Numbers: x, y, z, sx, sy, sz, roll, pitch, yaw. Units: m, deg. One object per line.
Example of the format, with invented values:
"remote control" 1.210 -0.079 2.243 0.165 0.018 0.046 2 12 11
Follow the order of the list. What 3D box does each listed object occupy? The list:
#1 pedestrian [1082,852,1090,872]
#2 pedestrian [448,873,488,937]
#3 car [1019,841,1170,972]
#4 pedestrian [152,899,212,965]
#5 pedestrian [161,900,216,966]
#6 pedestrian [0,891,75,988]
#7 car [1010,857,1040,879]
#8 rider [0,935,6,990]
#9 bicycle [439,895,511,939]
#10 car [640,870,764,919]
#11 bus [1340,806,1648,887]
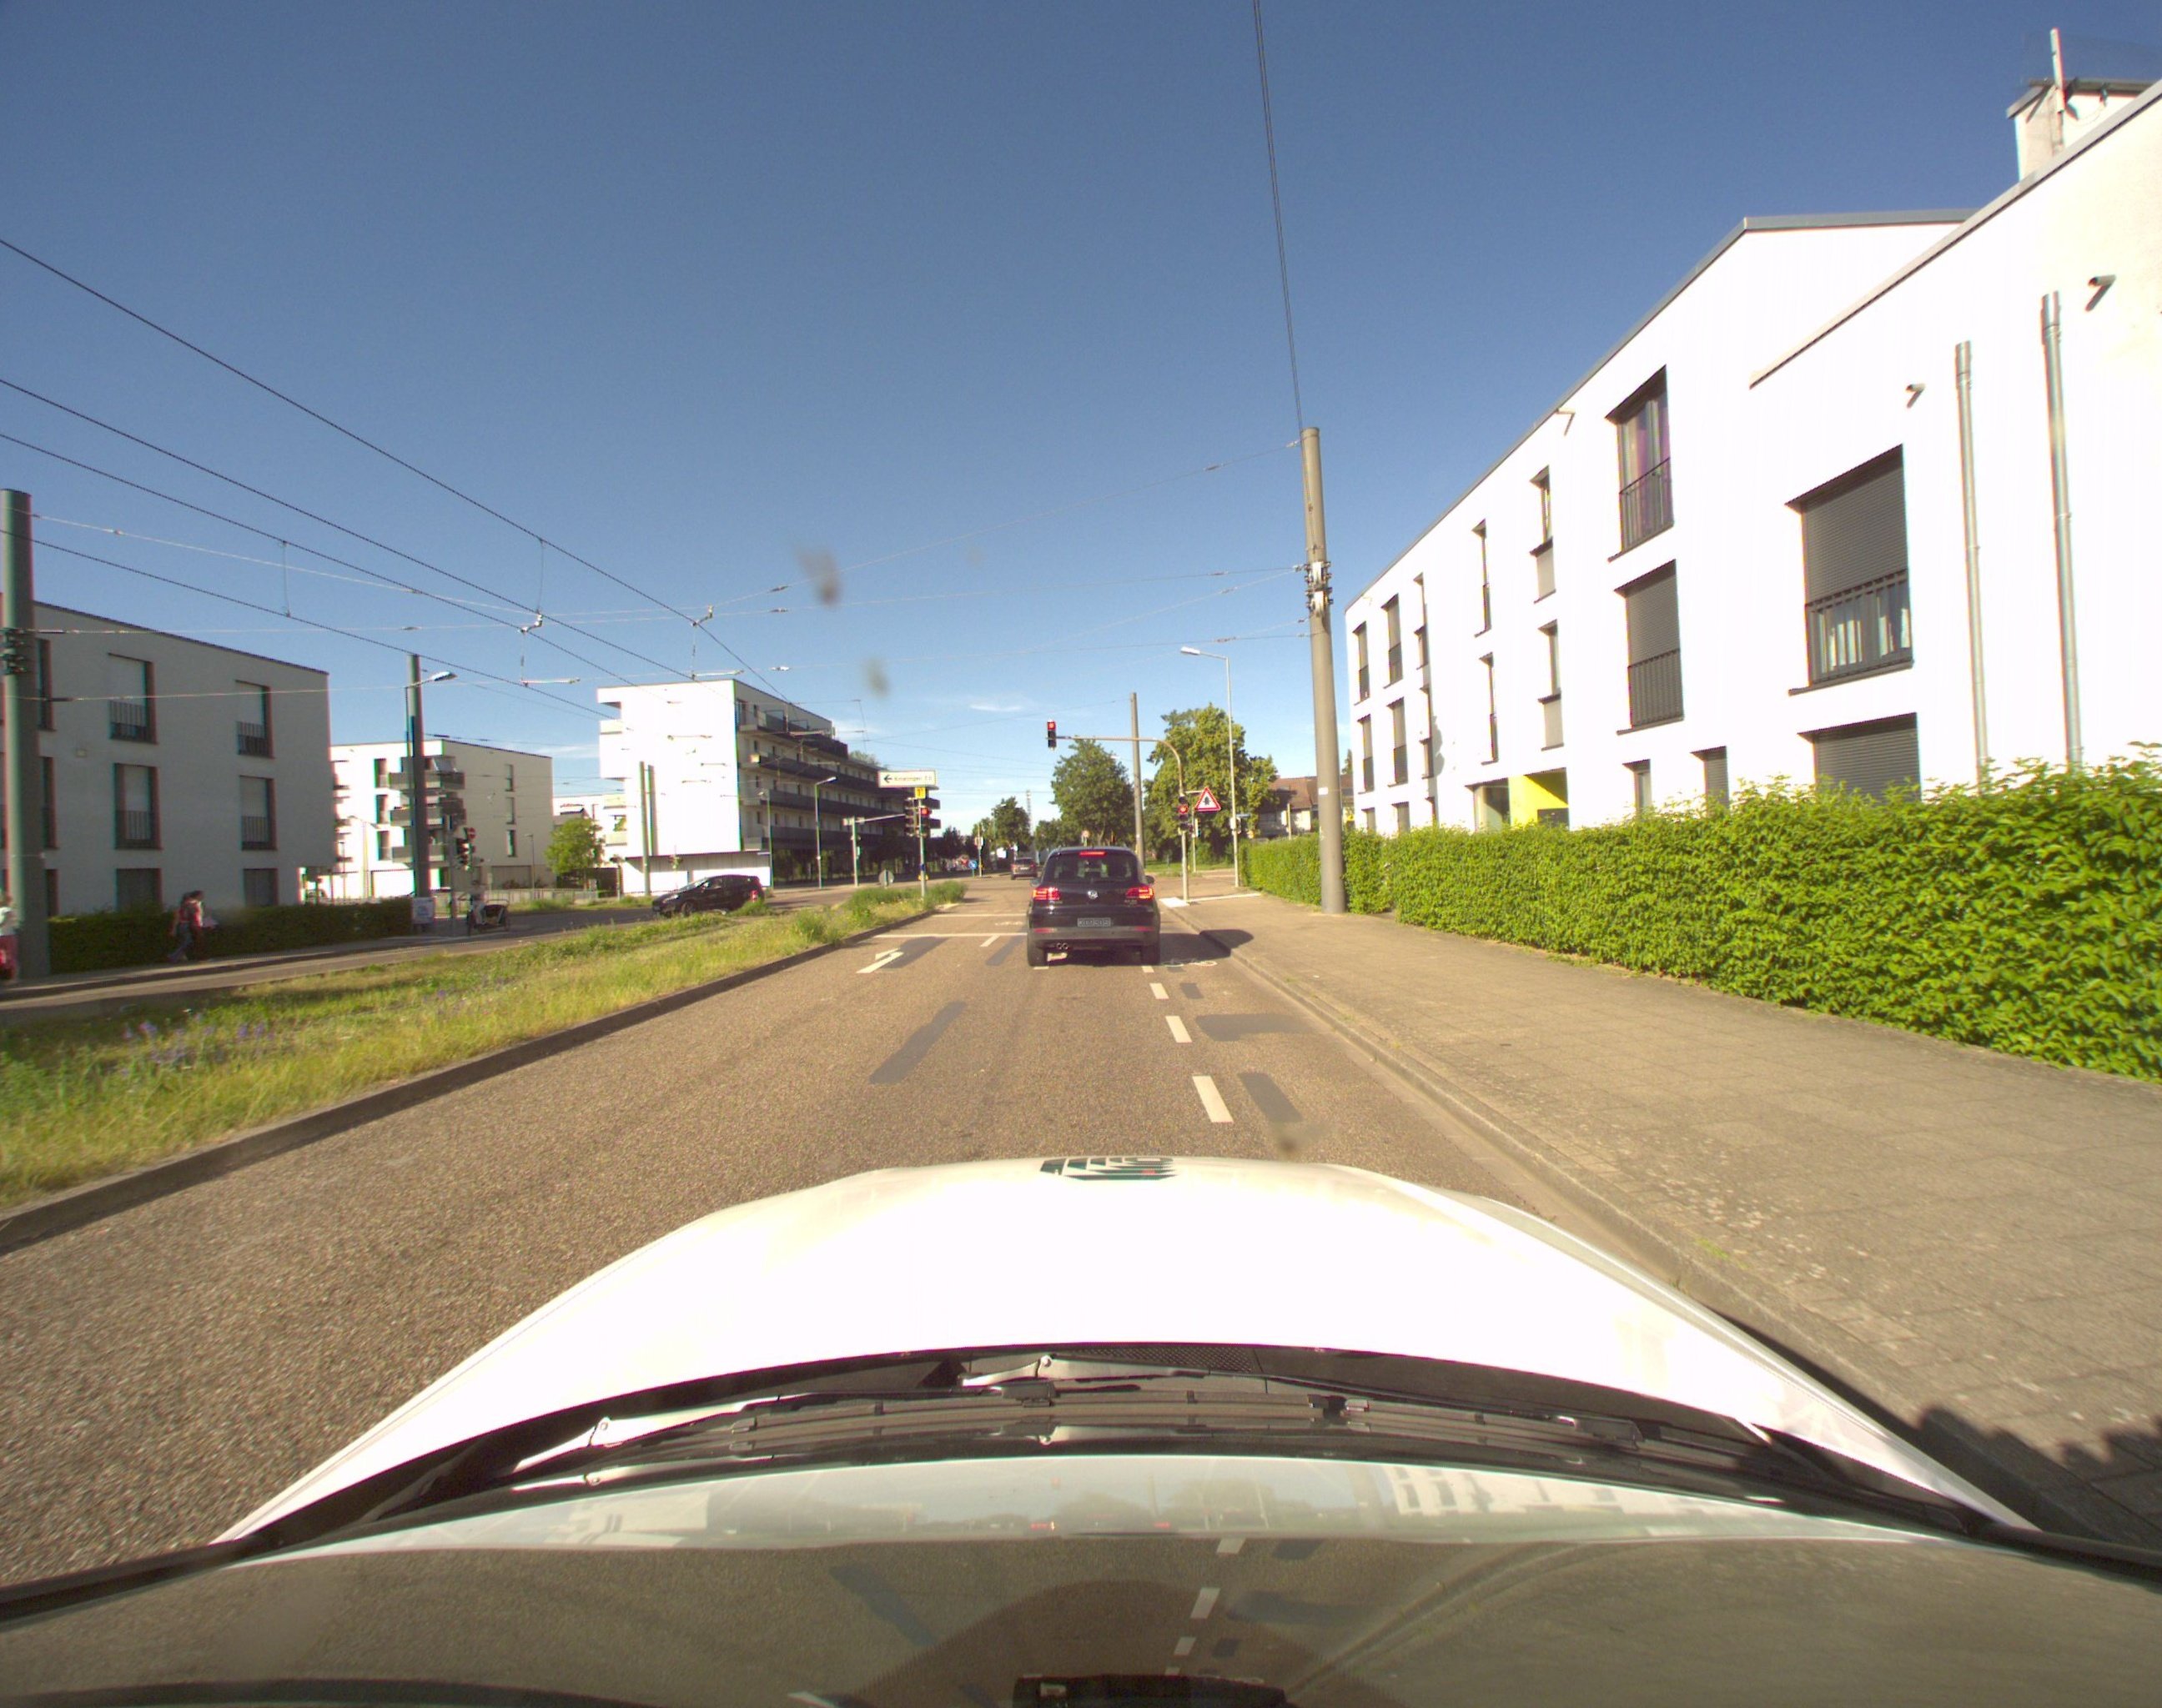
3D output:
"pedestrian" 0.389 0.642 65.885 0.600 1.640 0.530 -1 0 6
"pedestrian" -19.751 1.626 26.247 0.761 2.013 0.666 -1 0 -13
"car" 0.183 0.667 12.496 1.899 1.643 4.000 -1 0 0
"pedestrian" -21.164 1.818 19.186 0.555 1.464 0.743 -1 0 3
"pedestrian" -20.619 1.813 18.826 0.555 1.464 0.612 -1 0 2
"pedestrian" -20.260 1.622 15.612 0.811 1.748 0.911 -1 0 6
"car" -3.760 0.924 55.084 1.745 1.387 4.000 -1 0 0
"rider" -20.396 2.015 14.624 0.774 1.003 1.047 -1 0 6
"bicycle" -19.861 2.036 26.762 0.794 1.221 2.692 -1 0 -11
"car" -14.094 1.489 30.441 1.686 1.430 3.765 -4 0 34
"bus" 20.919 -0.383 41.601 14.605 3.671 2.844 -1 0 -4
